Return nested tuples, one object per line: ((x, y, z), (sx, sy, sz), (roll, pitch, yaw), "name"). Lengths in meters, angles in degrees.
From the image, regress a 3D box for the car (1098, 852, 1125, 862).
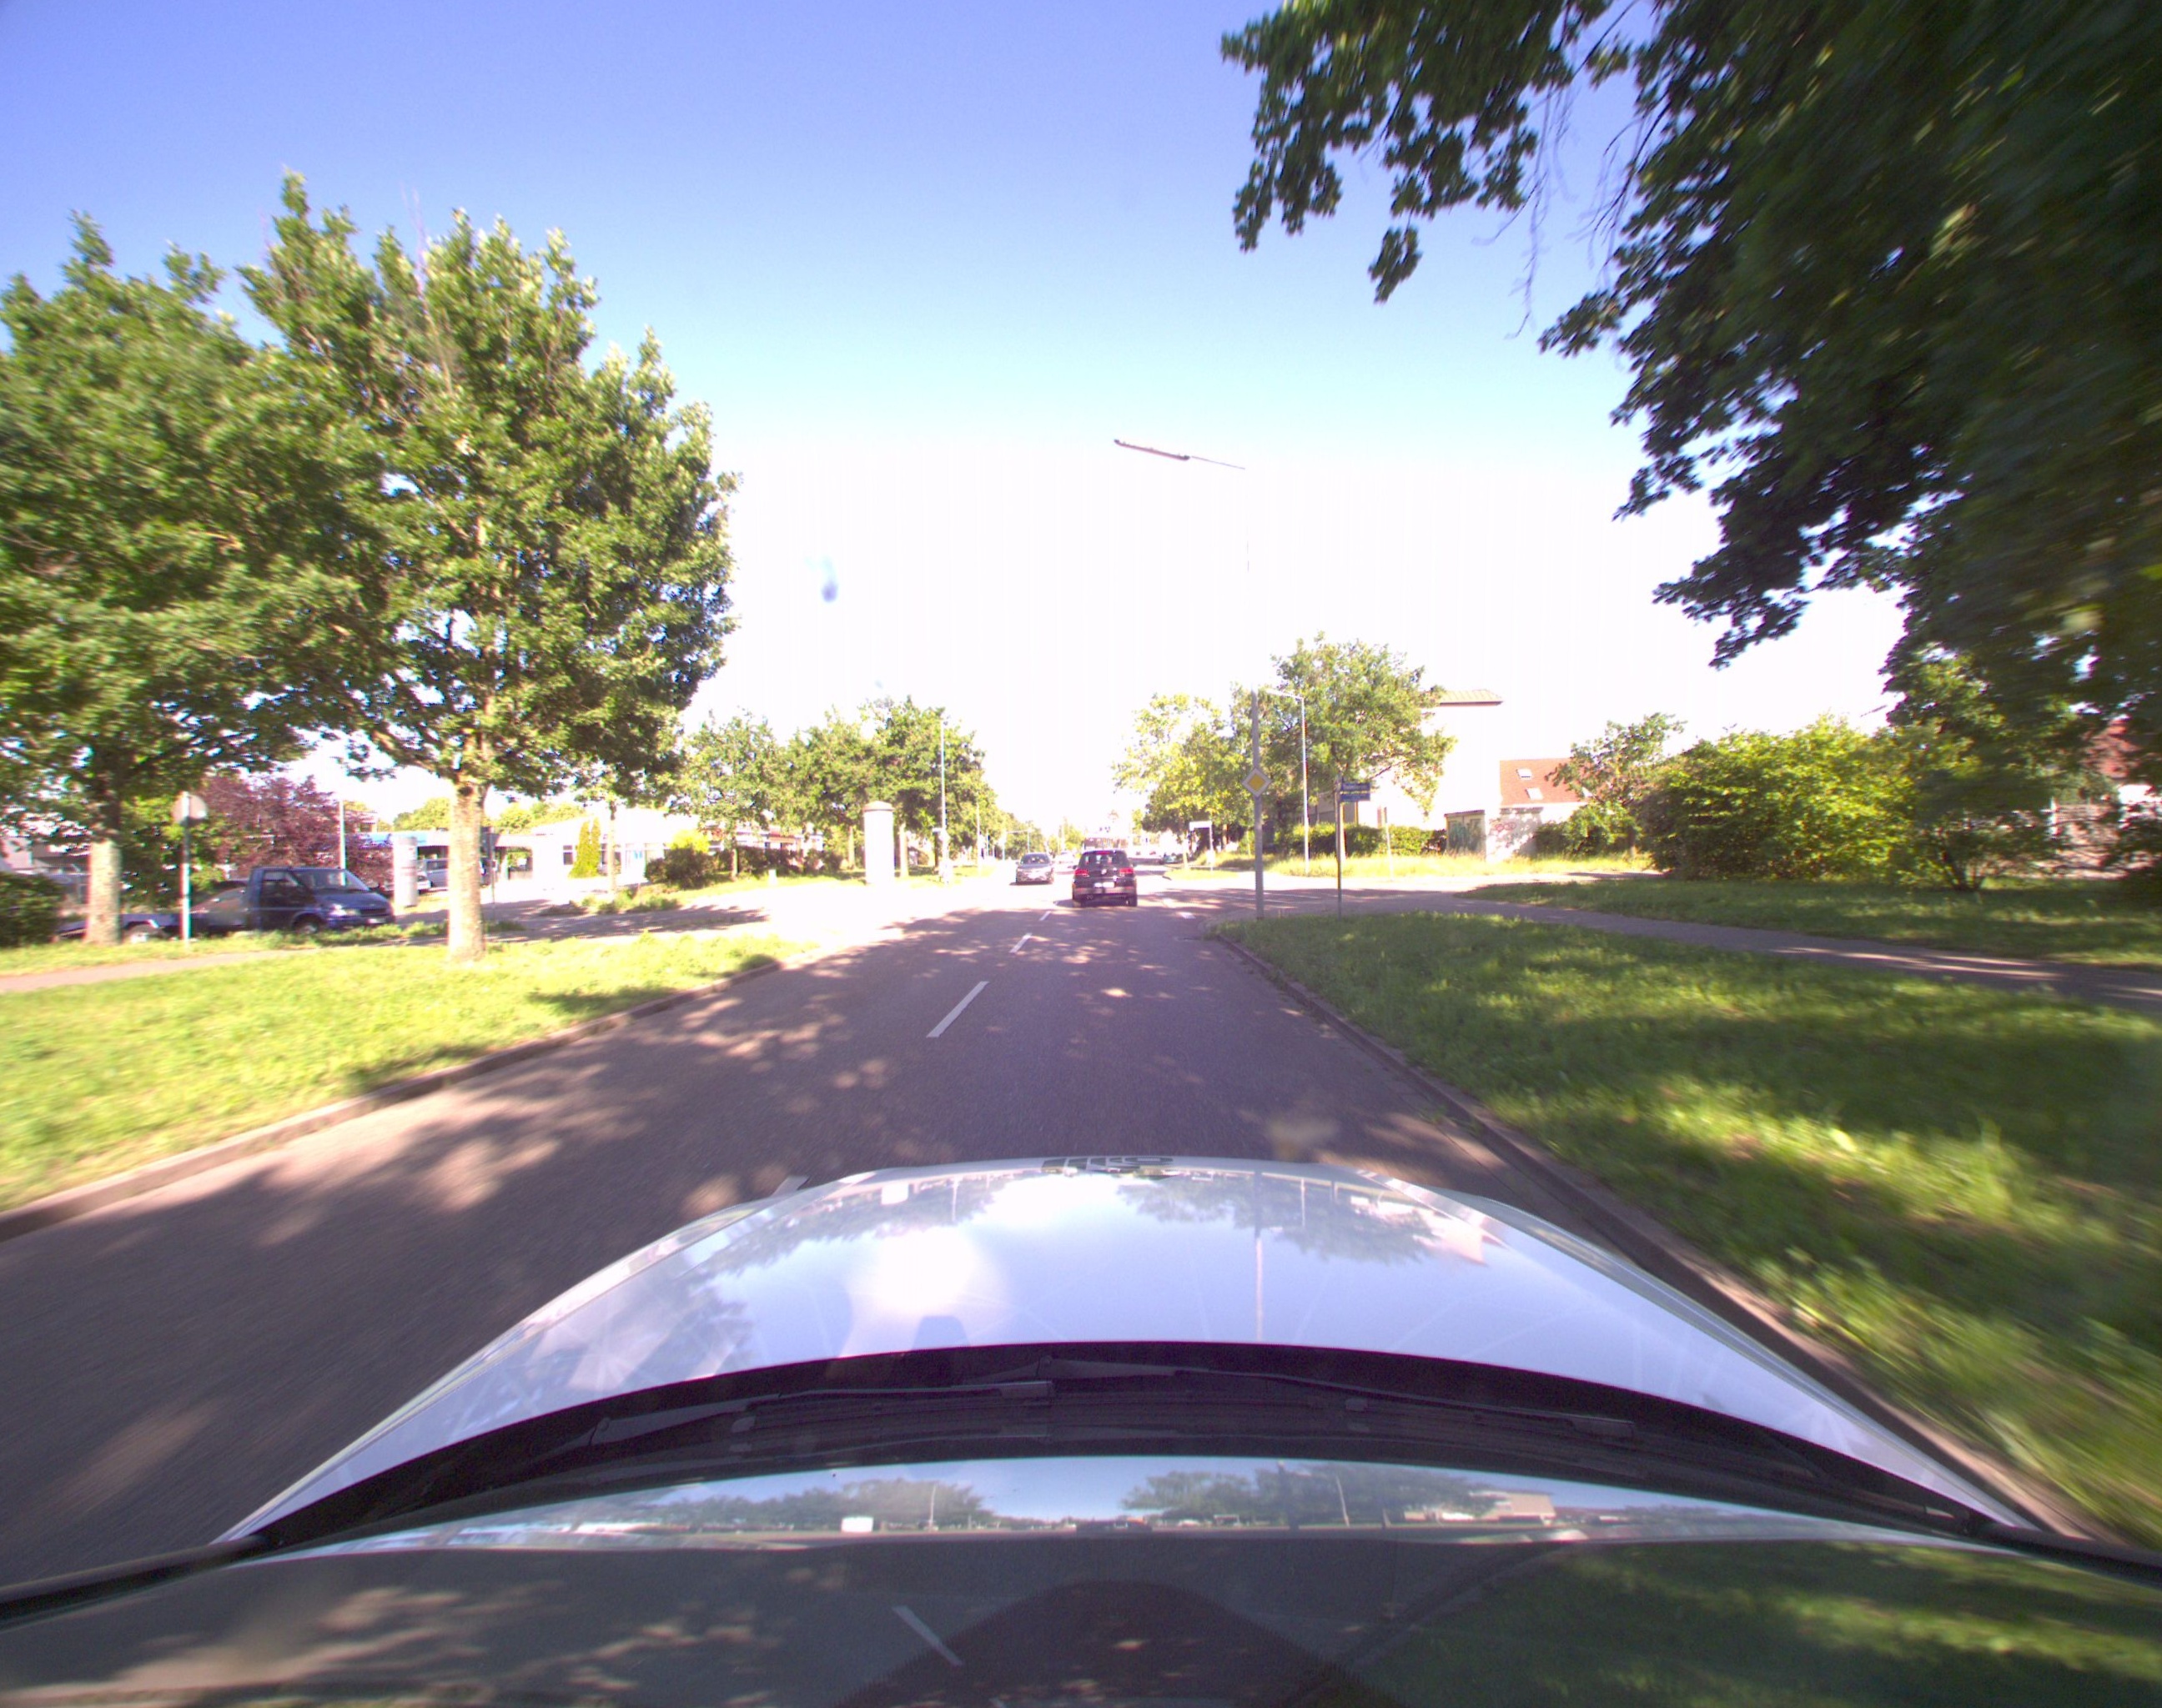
((4.256, 0.386, 113.860), (3.502, 1.302, 1.578), (-1, 0, 8), "car")

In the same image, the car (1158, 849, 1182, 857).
((15.532, -0.217, 141.647), (3.891, 1.340, 1.677), (0, -1, -9), "car")

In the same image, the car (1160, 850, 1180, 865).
((9.078, 0.372, 83.694), (1.587, 1.428, 4.204), (-3, 0, 1), "car")

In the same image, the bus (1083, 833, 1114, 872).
((1.544, -0.180, 76.821), (2.588, 3.334, 11.981), (0, 0, 0), "bus")

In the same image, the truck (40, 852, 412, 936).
((-22.463, 1.011, 21.713), (7.101, 2.050, 2.136), (0, -1, -6), "truck")

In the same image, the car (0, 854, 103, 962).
((-29.926, 1.379, 21.135), (5.851, 2.703, 2.297), (0, -1, -5), "car")

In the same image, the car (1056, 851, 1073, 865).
((-2.069, 0.491, 101.972), (1.752, 1.620, 4.024), (-2, -1, -6), "car")

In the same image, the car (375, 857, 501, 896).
((-38.134, 1.321, 48.430), (5.399, 2.070, 2.297), (-2, 0, -5), "car")

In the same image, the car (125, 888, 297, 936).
((-32.263, 2.133, 30.305), (4.183, 1.481, 1.822), (-2, 0, -5), "car")

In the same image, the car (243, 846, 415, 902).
((-37.476, 0.978, 40.756), (6.148, 2.703, 2.297), (0, -1, -5), "car")

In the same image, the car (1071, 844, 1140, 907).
((0.737, 0.607, 24.114), (1.814, 1.673, 4.004), (-2, -1, 2), "car")

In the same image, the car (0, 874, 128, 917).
((-49.137, 1.977, 39.121), (4.231, 1.966, 1.882), (0, -1, -5), "car")

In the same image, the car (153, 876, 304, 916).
((-38.754, 1.896, 37.120), (4.637, 1.551, 1.882), (-2, 0, -5), "car")

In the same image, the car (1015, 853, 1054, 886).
((-2.361, 0.781, 41.846), (1.748, 1.595, 4.298), (0, -1, 0), "car")

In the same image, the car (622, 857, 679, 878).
((-34.105, 1.067, 64.629), (3.591, 1.498, 1.590), (-2, -1, -6), "car")
